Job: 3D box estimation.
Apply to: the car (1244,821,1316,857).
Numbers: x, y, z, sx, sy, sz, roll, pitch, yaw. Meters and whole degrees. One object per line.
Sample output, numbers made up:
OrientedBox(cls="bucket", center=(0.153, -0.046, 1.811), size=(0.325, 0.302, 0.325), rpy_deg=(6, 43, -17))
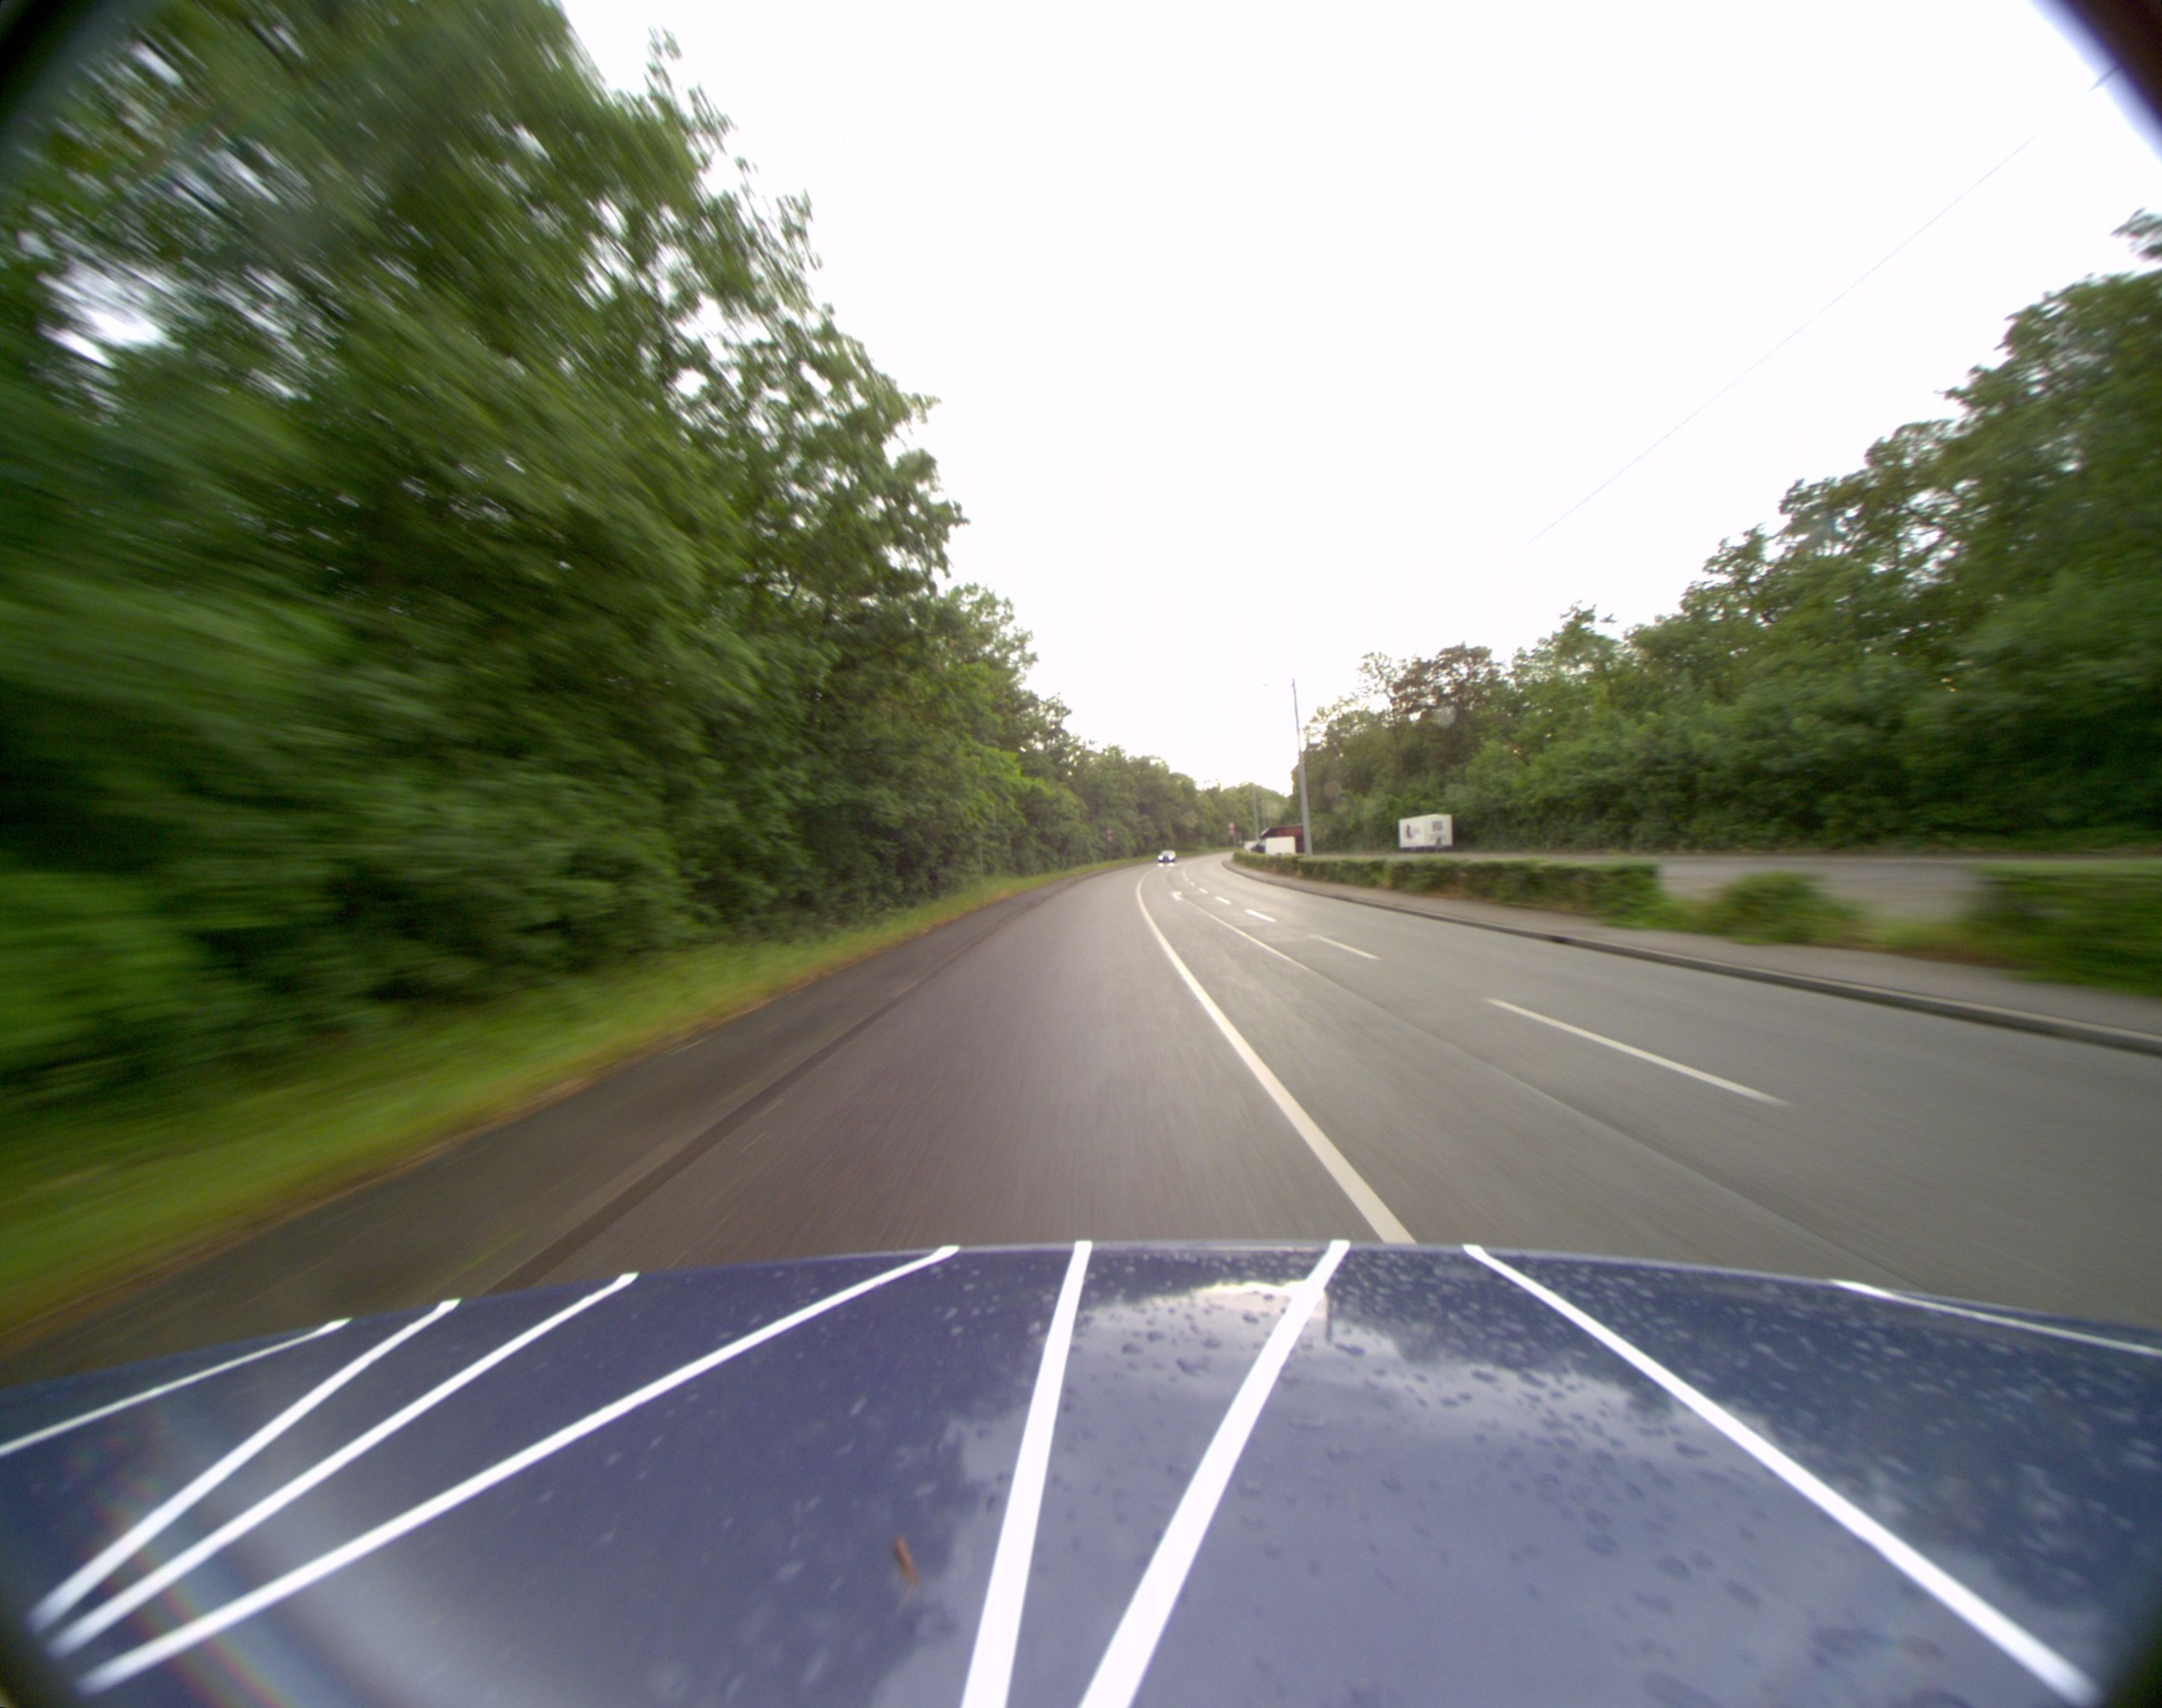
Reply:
OrientedBox(cls="car", center=(19.168, -1.422, 73.533), size=(6.284, 3.096, 2.752), rpy_deg=(-3, 2, 7))

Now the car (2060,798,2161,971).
OrientedBox(cls="car", center=(11.701, 0.136, 6.422), size=(4.588, 1.497, 1.999), rpy_deg=(-3, 1, -5))

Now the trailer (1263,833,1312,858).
OrientedBox(cls="trailer", center=(18.487, -0.739, 68.144), size=(3.994, 2.041, 1.874), rpy_deg=(-2, 1, 10))

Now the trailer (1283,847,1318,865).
OrientedBox(cls="trailer", center=(13.832, 0.131, 47.972), size=(1.805, 1.028, 1.334), rpy_deg=(-3, 1, 4))

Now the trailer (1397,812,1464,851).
OrientedBox(cls="trailer", center=(27.928, -1.754, 61.037), size=(2.481, 2.857, 7.980), rpy_deg=(-2, 1, 7))

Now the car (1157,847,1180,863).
OrientedBox(cls="car", center=(10.256, 0.150, 88.858), size=(1.996, 1.674, 4.003), rpy_deg=(-2, 1, 15))
